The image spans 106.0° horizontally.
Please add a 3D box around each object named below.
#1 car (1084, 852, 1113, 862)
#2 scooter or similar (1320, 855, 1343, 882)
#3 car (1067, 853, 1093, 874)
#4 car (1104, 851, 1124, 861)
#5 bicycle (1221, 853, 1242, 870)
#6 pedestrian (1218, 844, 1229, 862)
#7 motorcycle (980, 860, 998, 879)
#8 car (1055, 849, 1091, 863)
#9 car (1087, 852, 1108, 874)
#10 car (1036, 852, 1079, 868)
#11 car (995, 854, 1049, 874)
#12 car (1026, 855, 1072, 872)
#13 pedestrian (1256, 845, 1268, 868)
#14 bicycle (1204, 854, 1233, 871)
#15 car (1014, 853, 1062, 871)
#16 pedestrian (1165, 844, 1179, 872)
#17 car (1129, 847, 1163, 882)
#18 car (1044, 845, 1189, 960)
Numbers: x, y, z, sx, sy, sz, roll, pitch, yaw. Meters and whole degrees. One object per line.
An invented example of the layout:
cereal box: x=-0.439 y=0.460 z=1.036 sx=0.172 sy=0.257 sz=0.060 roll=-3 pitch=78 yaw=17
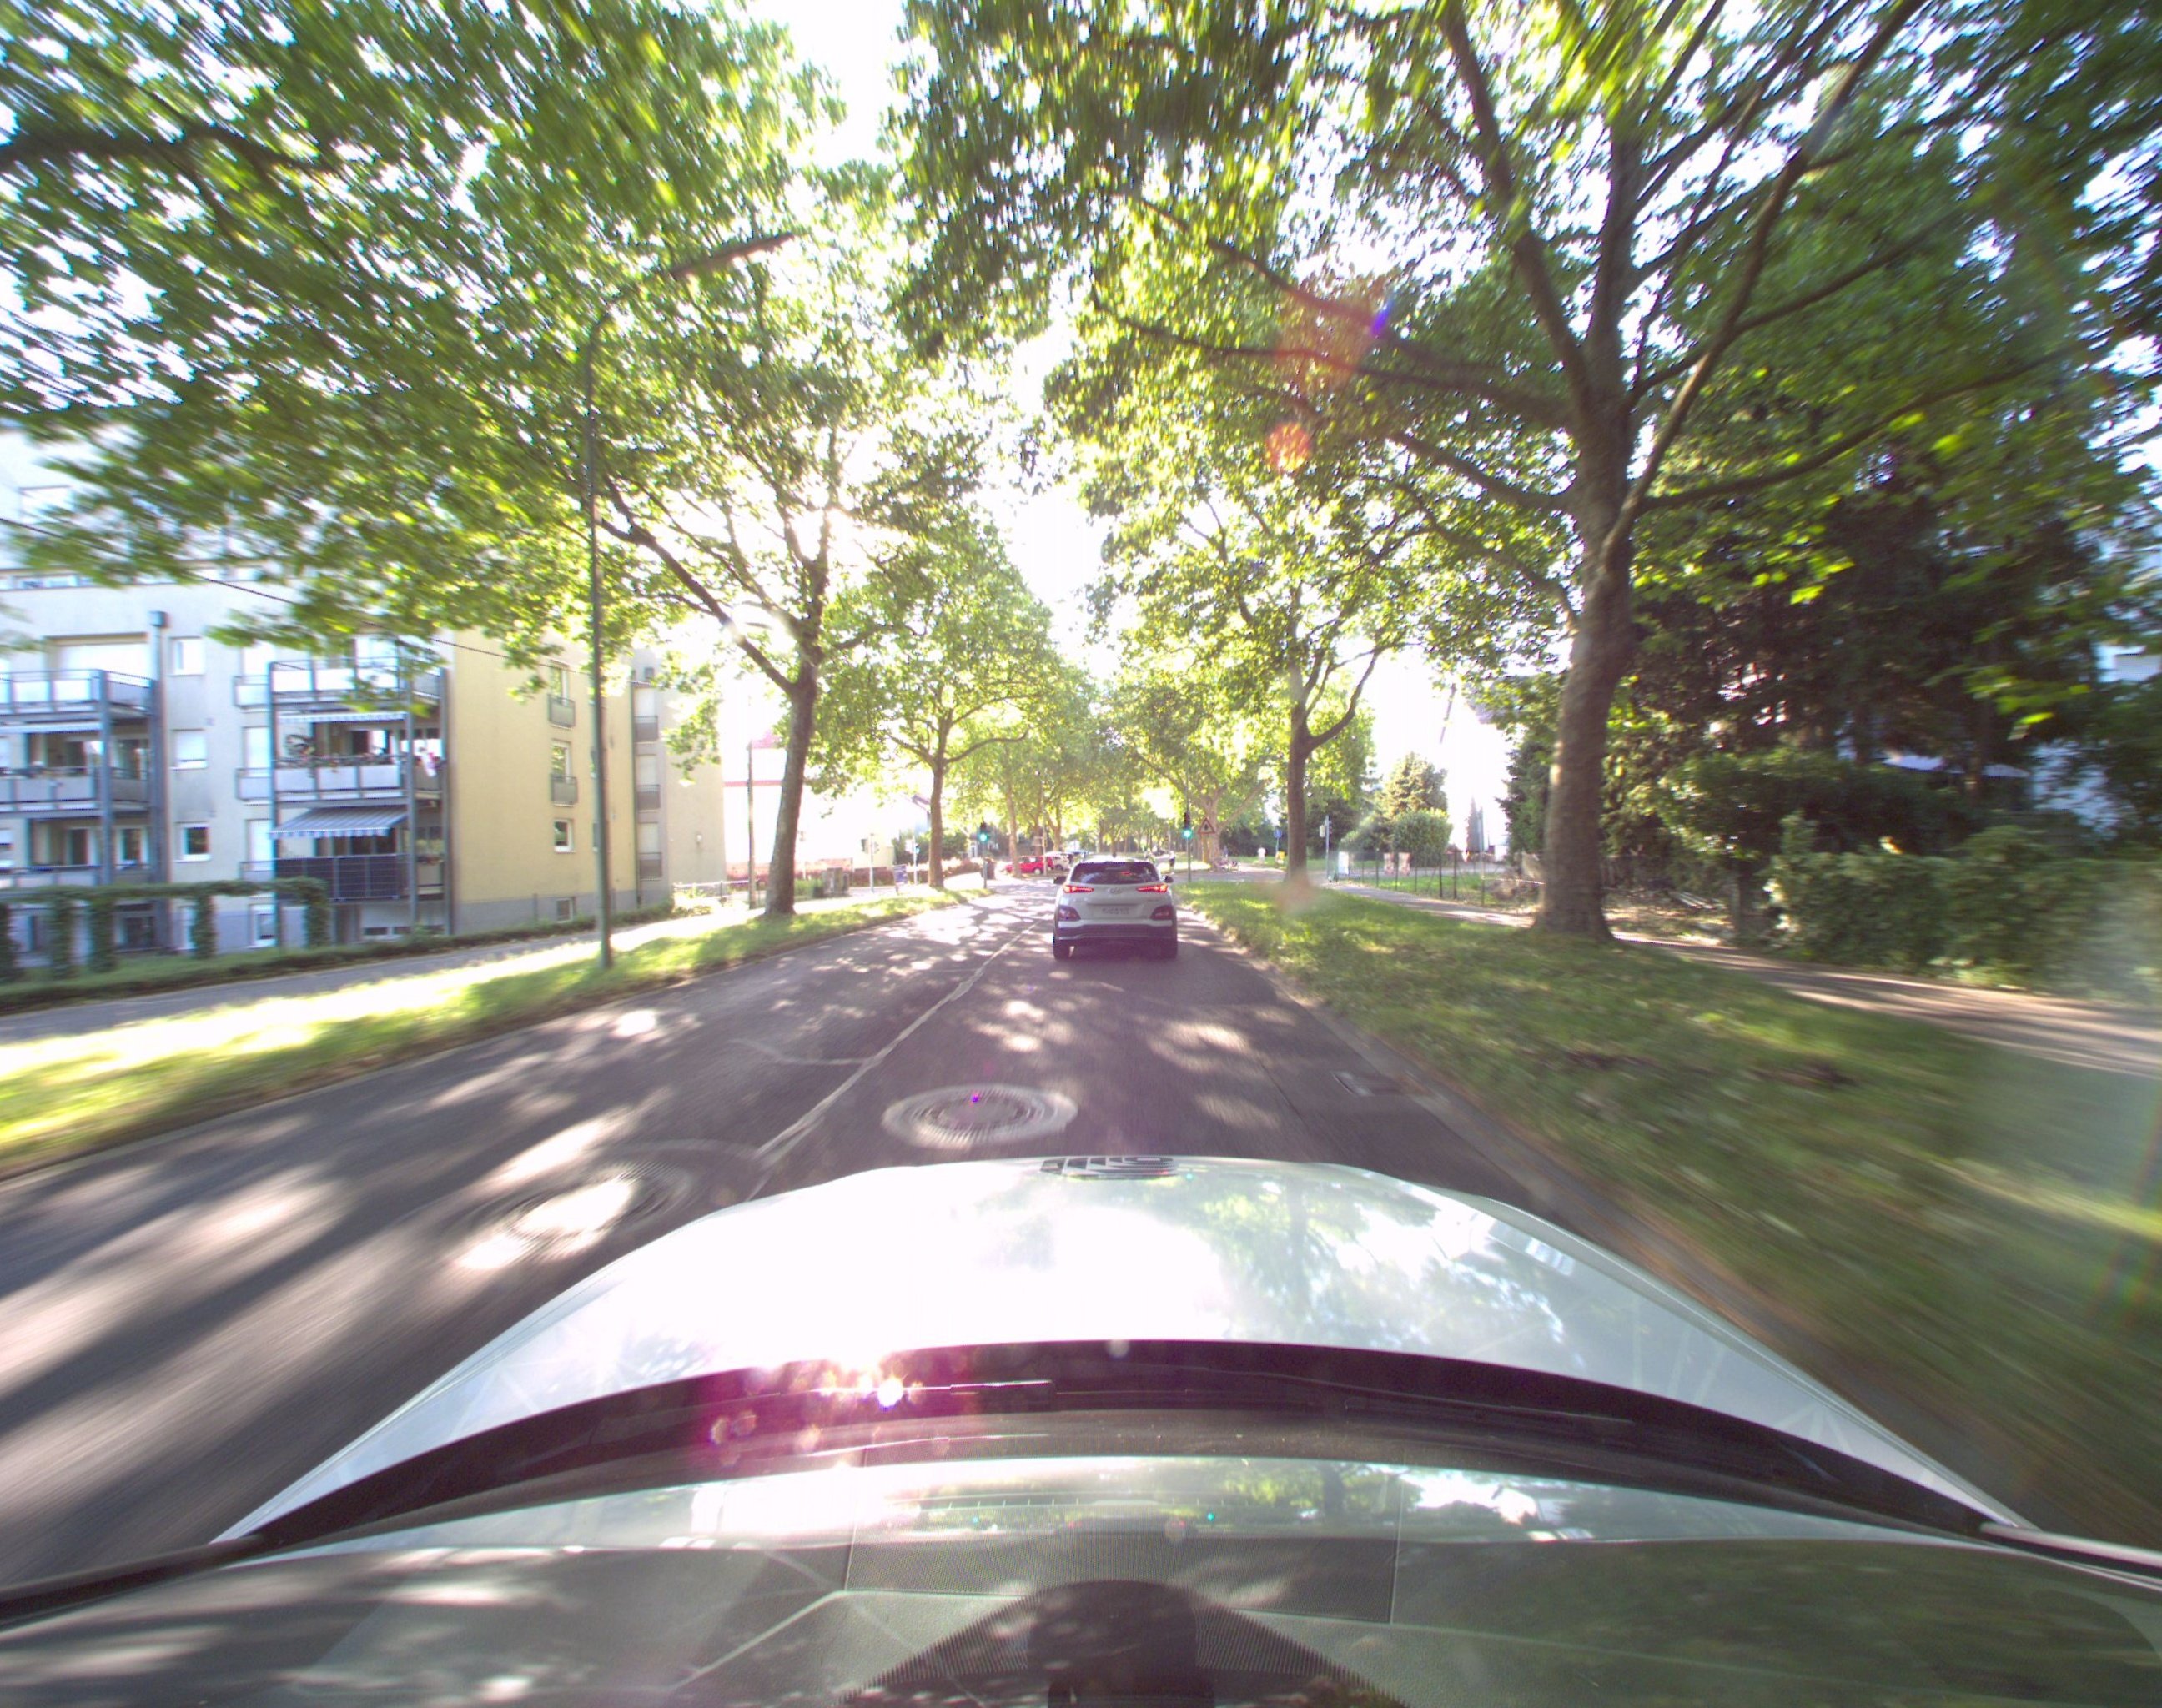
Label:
car: x=2.535 y=0.453 z=117.748 sx=3.970 sy=1.478 sz=2.002 roll=-1 pitch=-1 yaw=3
scooter or similar: x=12.018 y=0.689 z=39.154 sx=0.547 sy=1.258 sz=2.315 roll=-1 pitch=-1 yaw=4
car: x=-0.049 y=0.695 z=61.236 sx=1.681 sy=1.437 sz=3.685 roll=-1 pitch=1 yaw=3
car: x=6.278 y=0.411 z=155.624 sx=3.665 sy=1.808 sz=1.745 roll=-1 pitch=0 yaw=-7
bicycle: x=10.778 y=0.531 z=58.337 sx=0.604 sy=1.183 sz=2.107 roll=0 pitch=-1 yaw=-16
pedestrian: x=16.345 y=-0.139 z=93.299 sx=1.088 sy=2.013 sz=1.108 roll=-3 pitch=0 yaw=9
motorcycle: x=-6.760 y=1.130 z=59.963 sx=0.842 sy=1.378 sz=2.778 roll=-1 pitch=-1 yaw=2
car: x=-0.892 y=0.247 z=94.045 sx=3.970 sy=1.478 sz=2.002 roll=-1 pitch=-1 yaw=3
car: x=1.485 y=0.802 z=71.414 sx=1.784 sy=1.882 sz=4.002 roll=-1 pitch=-1 yaw=2
car: x=-2.240 y=0.553 z=79.077 sx=3.970 sy=1.478 sz=2.002 roll=-1 pitch=-1 yaw=3
car: x=-4.650 y=0.808 z=64.513 sx=3.970 sy=1.478 sz=2.002 roll=-1 pitch=-1 yaw=3
car: x=-2.885 y=0.830 z=74.242 sx=3.969 sy=1.478 sz=2.002 roll=-1 pitch=-1 yaw=4
pedestrian: x=13.815 y=0.170 z=62.210 sx=0.828 sy=1.736 sz=0.888 roll=-1 pitch=-1 yaw=11
bicycle: x=9.693 y=0.588 z=57.425 sx=0.608 sy=1.164 sz=2.124 roll=0 pitch=-1 yaw=-41
car: x=-3.789 y=0.713 z=72.087 sx=3.970 sy=1.478 sz=2.002 roll=-1 pitch=-1 yaw=3
pedestrian: x=6.619 y=0.290 z=59.188 sx=0.862 sy=2.014 sz=0.816 roll=-1 pitch=-1 yaw=11
car: x=4.022 y=0.607 z=50.293 sx=1.984 sy=2.013 sz=4.005 roll=-1 pitch=0 yaw=5
car: x=0.578 y=0.684 z=13.261 sx=1.986 sy=1.574 sz=4.002 roll=-1 pitch=0 yaw=2
